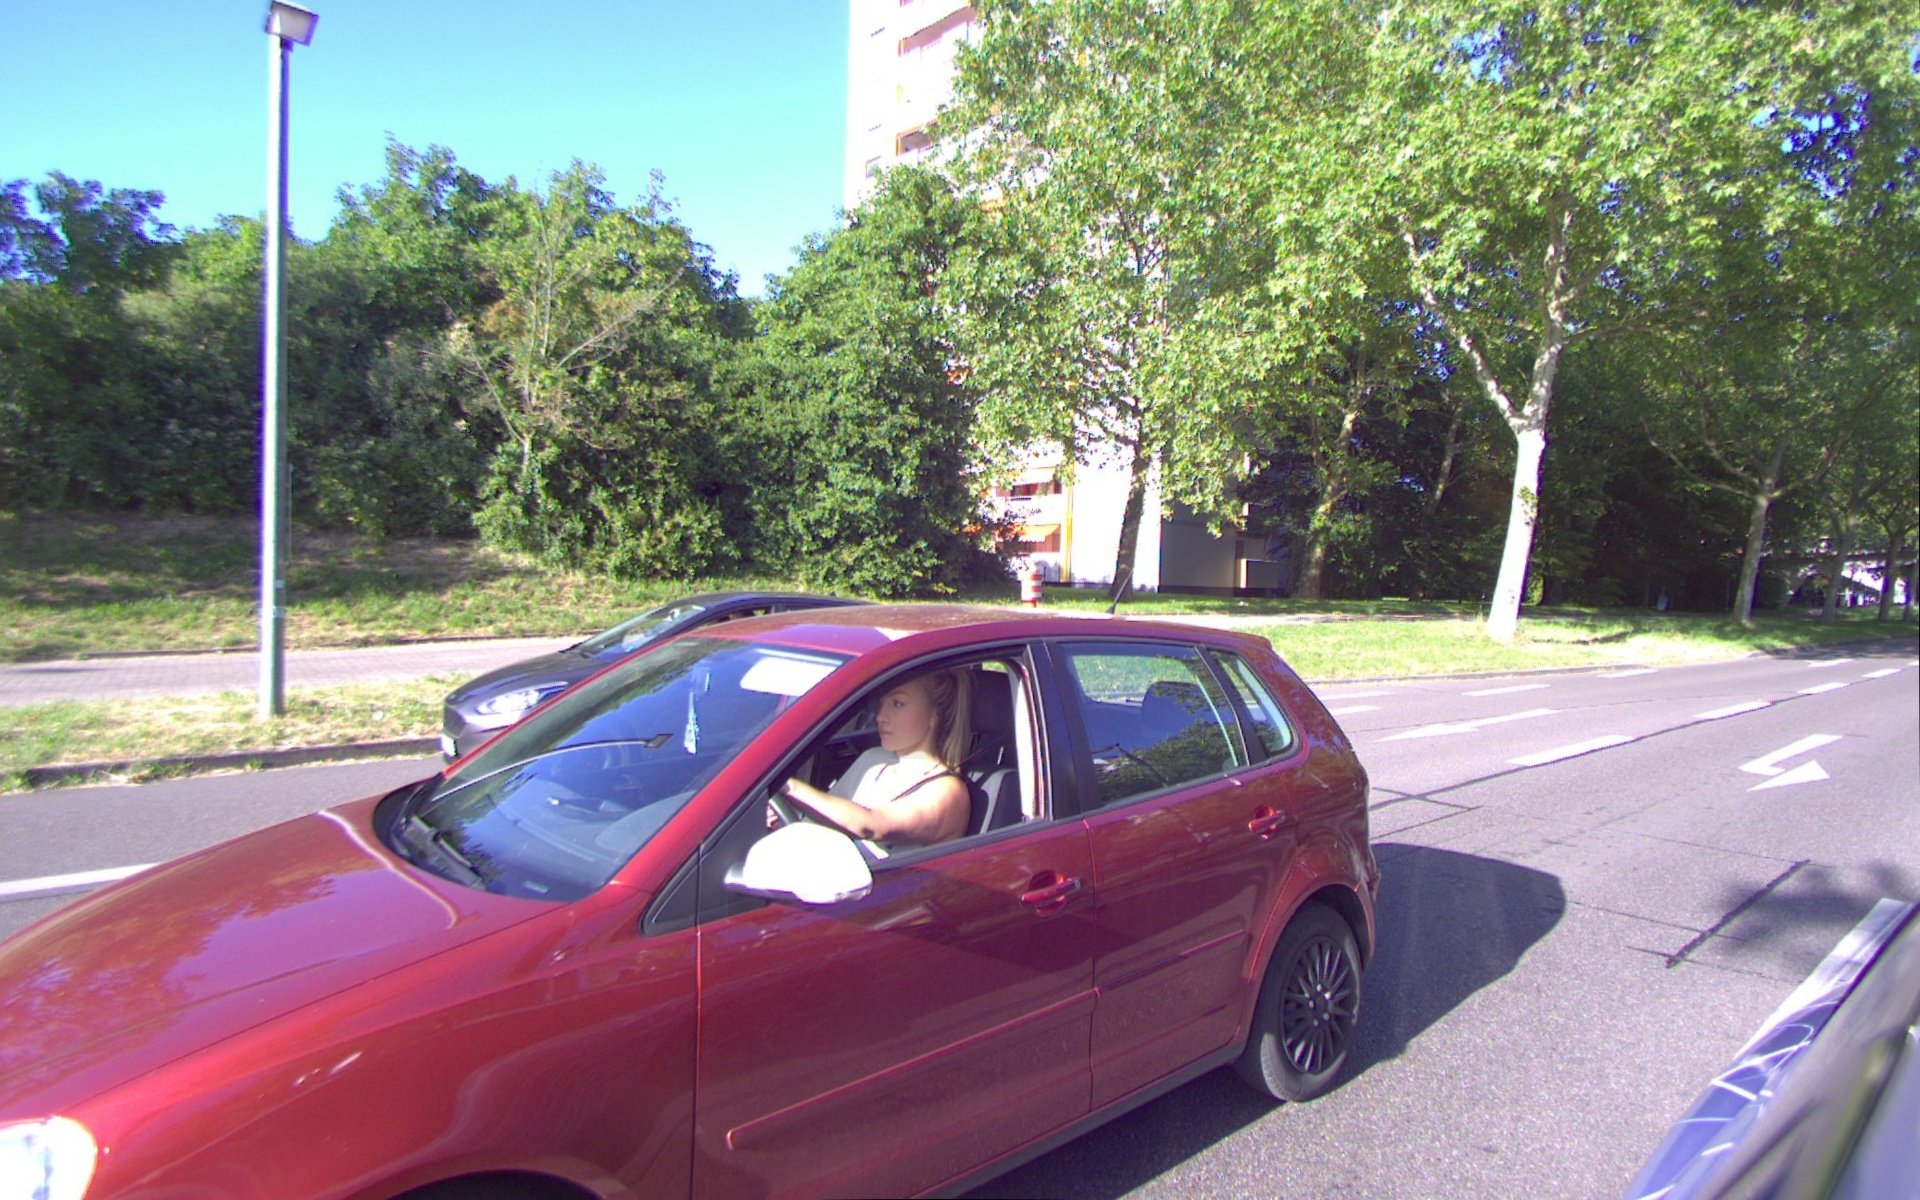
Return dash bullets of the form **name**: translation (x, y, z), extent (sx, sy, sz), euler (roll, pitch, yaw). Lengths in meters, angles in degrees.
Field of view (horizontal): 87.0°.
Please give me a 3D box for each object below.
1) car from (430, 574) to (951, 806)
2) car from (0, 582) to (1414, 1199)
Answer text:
- **car**: translation (-2.121, 0.562, 8.417), extent (3.821, 1.487, 1.751), euler (0, 1, -38)
- **car**: translation (-0.464, 0.691, 2.754), extent (3.627, 1.434, 1.626), euler (0, 1, -39)
